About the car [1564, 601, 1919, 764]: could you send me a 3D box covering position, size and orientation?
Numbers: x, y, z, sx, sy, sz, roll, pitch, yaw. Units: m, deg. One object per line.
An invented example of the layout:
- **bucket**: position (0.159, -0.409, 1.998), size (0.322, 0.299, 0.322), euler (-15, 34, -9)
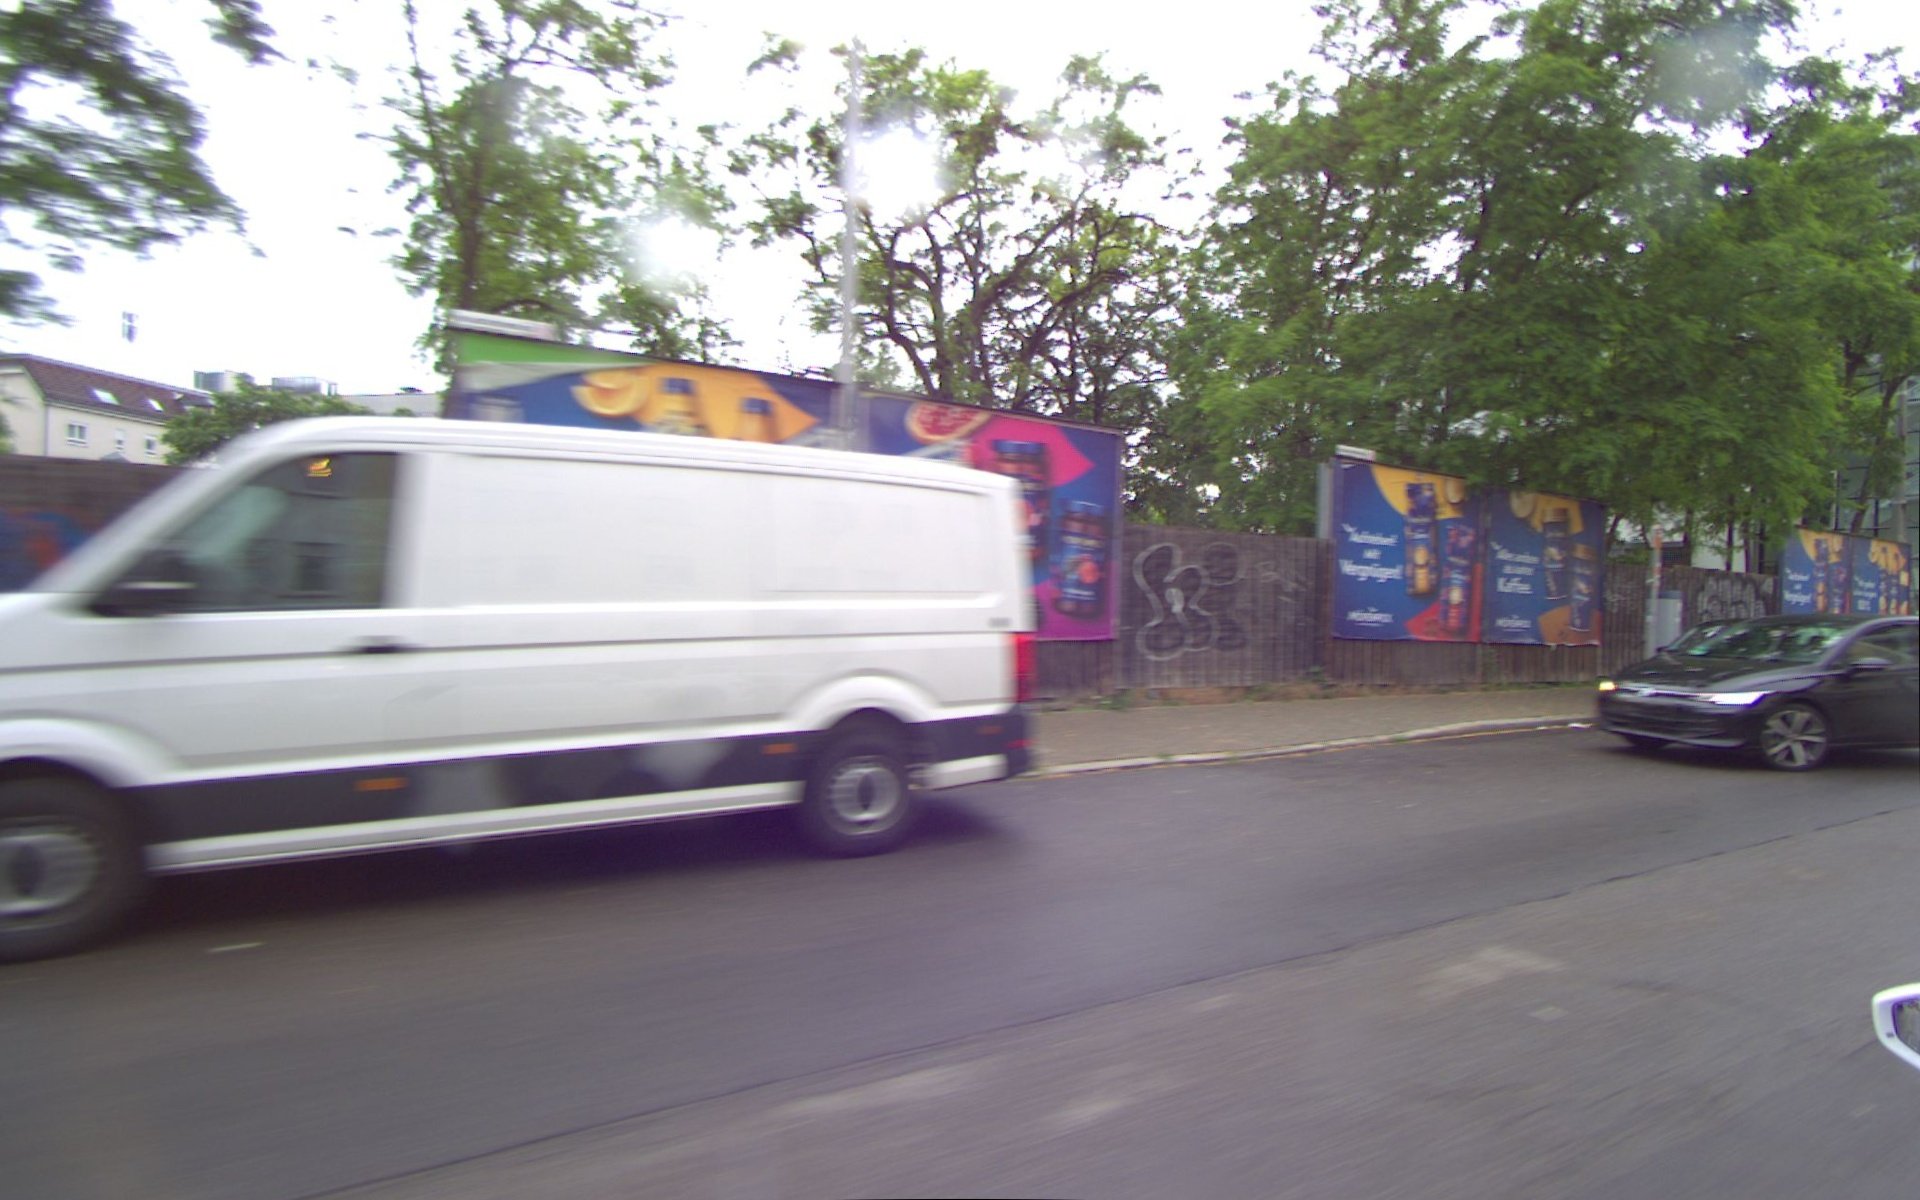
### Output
- **car**: position (8.664, 0.775, 10.179), size (4.308, 1.434, 1.807), euler (1, 0, -13)

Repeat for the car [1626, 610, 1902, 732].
- **car**: position (10.786, 0.893, 13.422), size (3.866, 1.417, 1.674), euler (2, -1, -31)

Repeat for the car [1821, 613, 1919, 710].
- **car**: position (16.261, 1.002, 16.754), size (4.229, 1.482, 1.674), euler (2, -1, -32)

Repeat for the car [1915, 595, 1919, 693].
- **car**: position (20.088, 0.872, 19.114), size (4.295, 1.824, 1.715), euler (2, -1, -31)

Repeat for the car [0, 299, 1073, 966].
- **car**: position (-2.342, 0.162, 5.691), size (5.912, 2.520, 2.003), euler (1, -1, -30)
